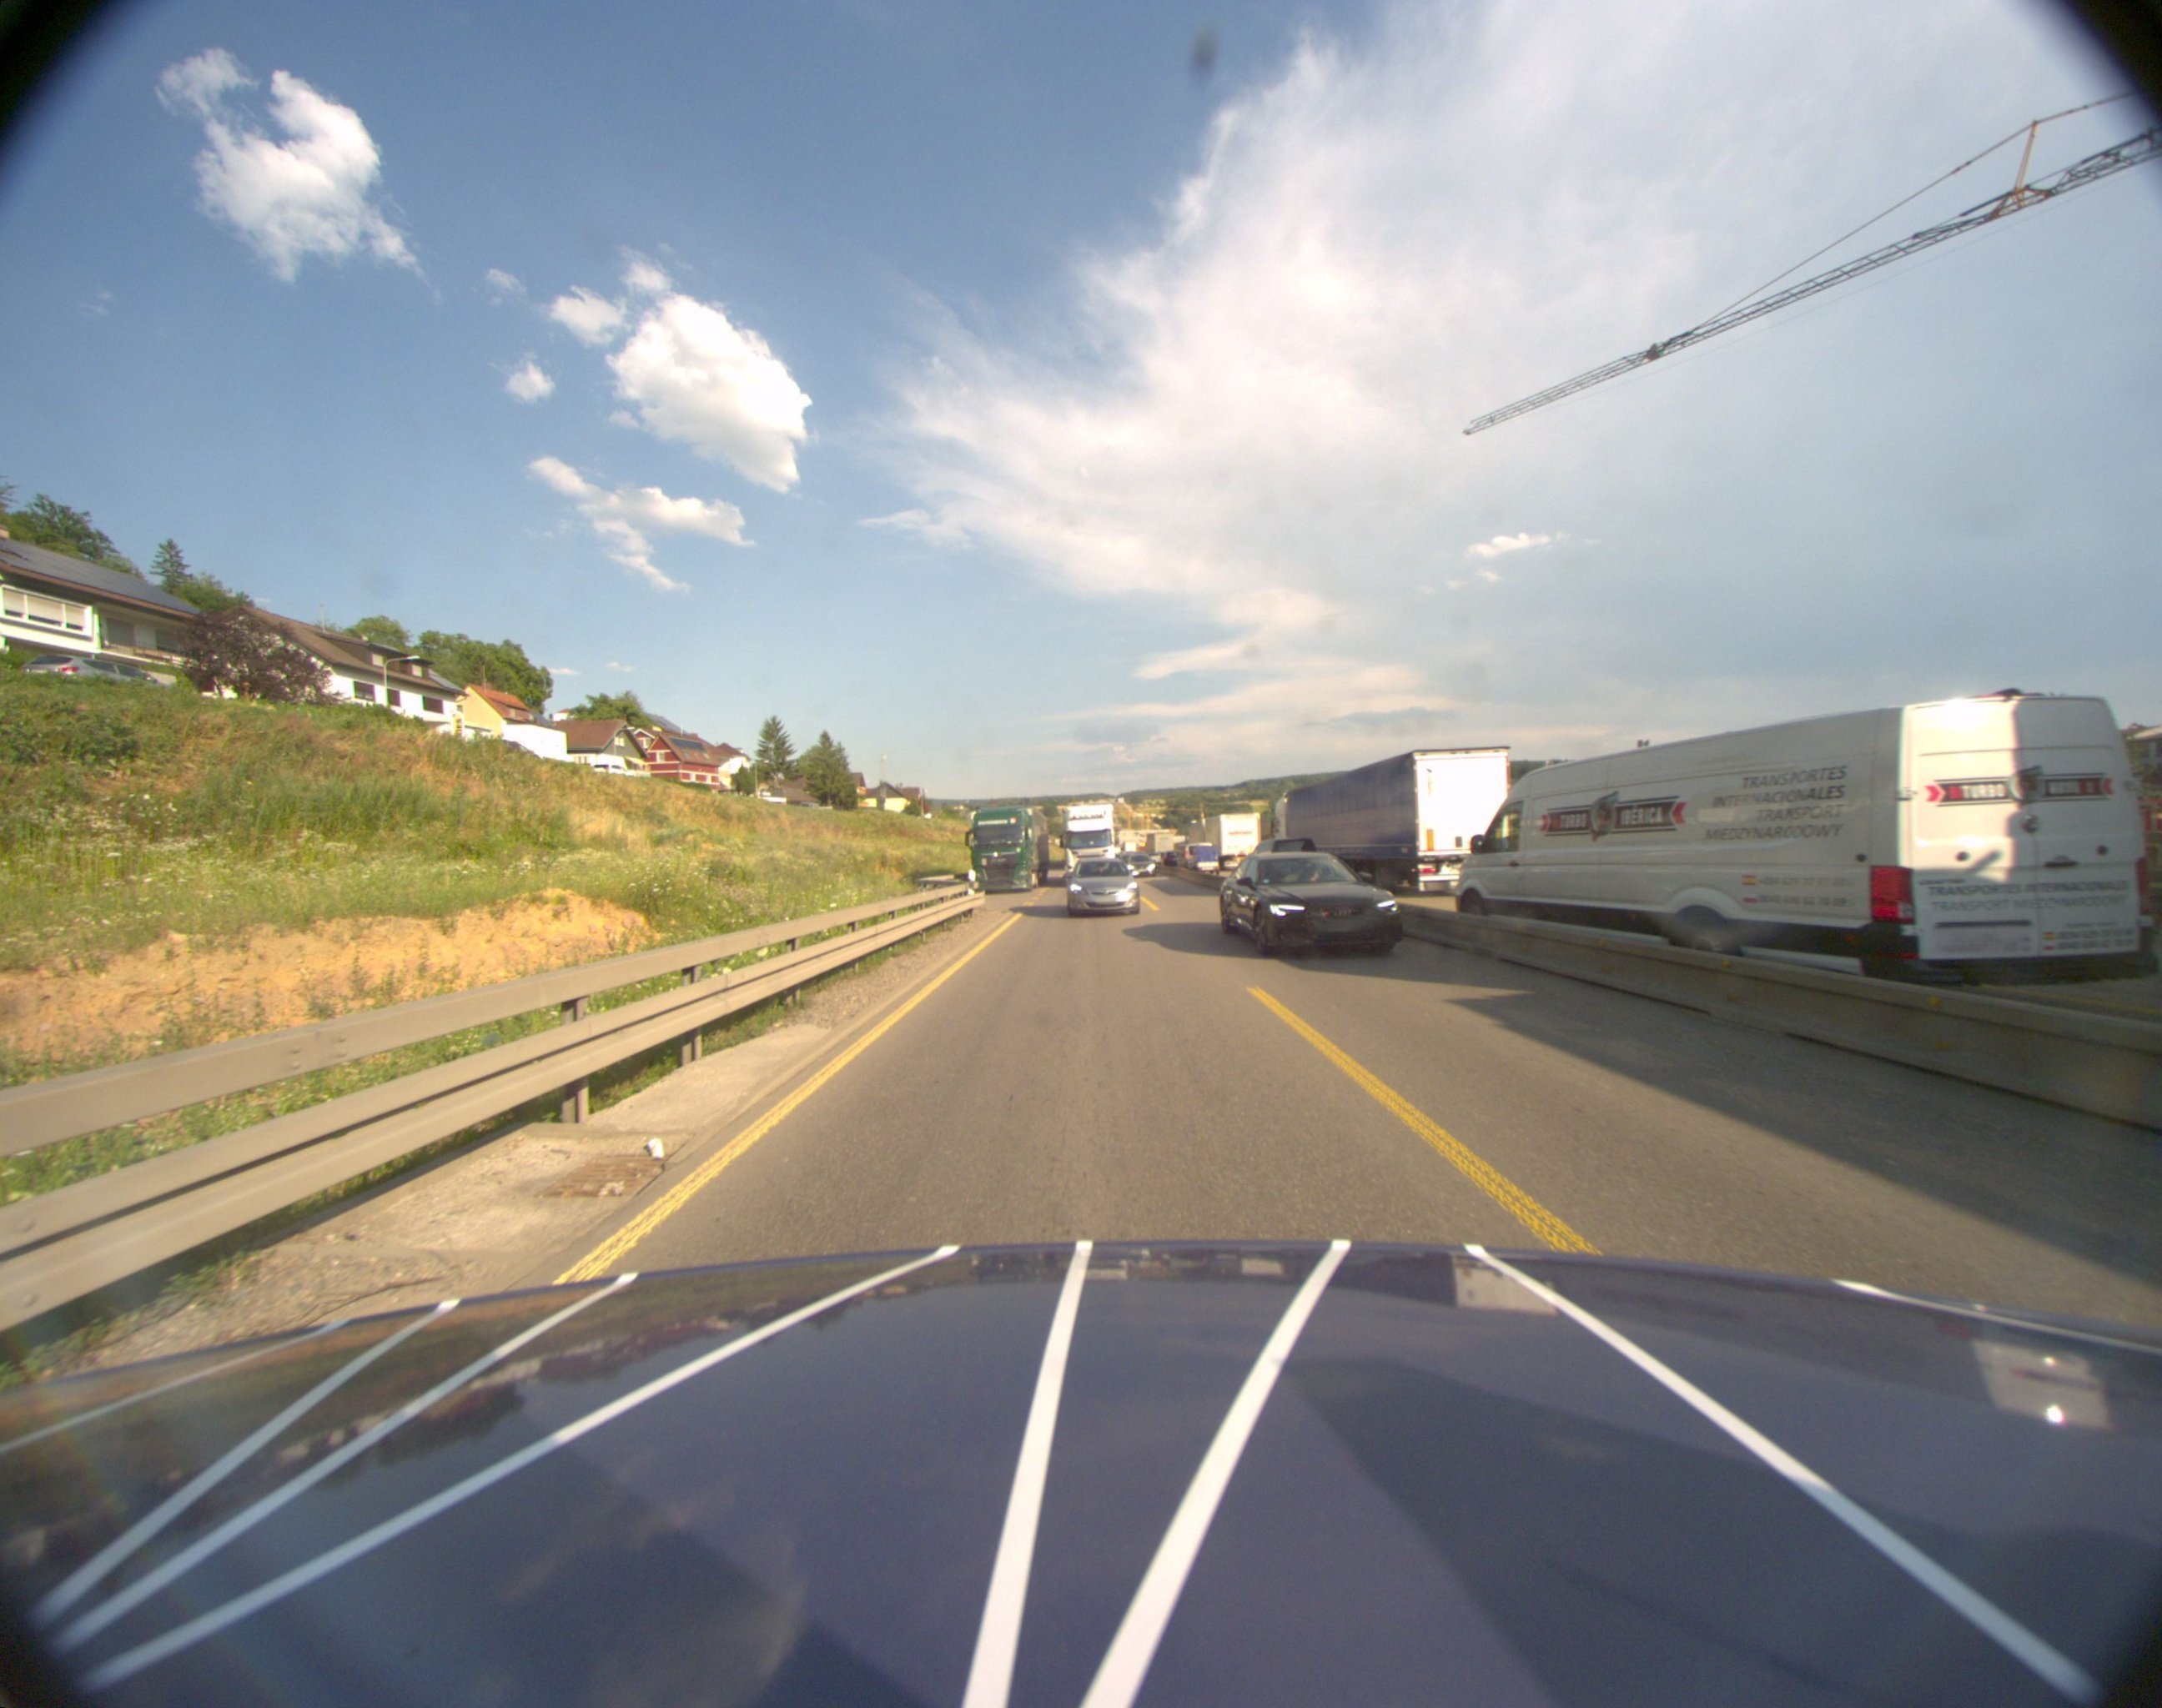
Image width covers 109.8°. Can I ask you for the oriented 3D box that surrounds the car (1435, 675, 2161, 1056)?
[{"bbox_3d":[6.958,0.050,9.056,1.998,2.607,7.409,-3,1,1],"label":"car"}]

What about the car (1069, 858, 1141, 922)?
[{"bbox_3d":[0.597,0.857,19.727,1.671,1.425,3.524,-1,0,1],"label":"car"}]

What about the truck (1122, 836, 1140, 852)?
[{"bbox_3d":[12.383,-2.469,188.181,3.876,3.766,9.142,-3,1,1],"label":"truck"}]

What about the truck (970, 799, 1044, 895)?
[{"bbox_3d":[-3.334,-0.333,35.576,2.547,3.992,6.071,-3,1,1],"label":"truck"}]

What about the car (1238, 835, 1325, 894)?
[{"bbox_3d":[6.987,0.308,27.002,1.785,1.832,4.853,-3,1,1],"label":"car"}]

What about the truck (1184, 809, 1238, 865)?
[{"bbox_3d":[10.710,-1.348,63.661,2.834,4.239,10.072,-3,1,1],"label":"truck"}]

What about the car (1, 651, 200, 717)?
[{"bbox_3d":[-35.243,-6.061,27.529,1.999,1.433,3.999,-2,0,-2],"label":"car"}]

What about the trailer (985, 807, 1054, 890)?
[{"bbox_3d":[-3.214,-0.325,42.970,2.554,3.911,12.078,-3,1,1],"label":"trailer"}]

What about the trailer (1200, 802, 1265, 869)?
[{"bbox_3d":[10.628,-1.254,54.261,2.834,4.258,8.735,-3,1,1],"label":"trailer"}]

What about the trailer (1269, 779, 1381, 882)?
[{"bbox_3d":[10.606,-0.968,33.771,2.932,4.013,6.222,-3,1,1],"label":"trailer"}]

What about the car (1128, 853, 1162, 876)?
[{"bbox_3d":[3.907,0.602,47.019,1.692,1.293,3.883,-3,1,-1],"label":"car"}]

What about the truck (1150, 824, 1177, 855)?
[{"bbox_3d":[11.440,-1.950,106.247,2.873,4.038,7.598,-2,0,1],"label":"truck"}]

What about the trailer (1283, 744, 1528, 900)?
[{"bbox_3d":[10.473,-0.909,27.093,2.932,4.013,13.773,-3,0,1],"label":"trailer"}]

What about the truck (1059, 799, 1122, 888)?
[{"bbox_3d":[0.585,-0.551,41.837,2.741,4.033,12.670,-3,1,1],"label":"truck"}]

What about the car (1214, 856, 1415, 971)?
[{"bbox_3d":[3.417,0.779,12.054,1.873,1.411,4.348,-2,0,1],"label":"car"}]

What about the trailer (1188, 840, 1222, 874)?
[{"bbox_3d":[7.319,0.161,45.051,1.452,1.843,2.984,-3,1,1],"label":"trailer"}]

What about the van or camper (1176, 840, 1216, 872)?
[{"bbox_3d":[7.359,0.128,49.057,1.868,1.881,5.003,-3,1,1],"label":"van or camper"}]

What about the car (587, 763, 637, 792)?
[{"bbox_3d":[-38.928,-6.314,63.190,2.000,2.002,3.997,-3,0,-7],"label":"car"}]

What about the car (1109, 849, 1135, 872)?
[{"bbox_3d":[3.315,0.542,62.167,1.998,1.739,4.000,-2,0,1],"label":"car"}]

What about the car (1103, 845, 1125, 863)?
[{"bbox_3d":[3.252,0.034,75.129,1.918,1.746,4.000,-1,0,0],"label":"car"}]

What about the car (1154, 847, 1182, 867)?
[{"bbox_3d":[7.195,0.206,63.327,1.861,1.565,4.000,-3,1,1],"label":"car"}]

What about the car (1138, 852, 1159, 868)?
[{"bbox_3d":[7.114,0.623,80.604,1.889,1.499,4.000,-3,1,1],"label":"car"}]

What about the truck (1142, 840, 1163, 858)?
[{"bbox_3d":[11.505,-0.869,122.333,2.694,2.682,7.358,-2,0,1],"label":"truck"}]

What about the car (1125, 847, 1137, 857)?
[{"bbox_3d":[8.665,-0.353,131.808,1.808,1.652,4.000,-2,0,1],"label":"car"}]
